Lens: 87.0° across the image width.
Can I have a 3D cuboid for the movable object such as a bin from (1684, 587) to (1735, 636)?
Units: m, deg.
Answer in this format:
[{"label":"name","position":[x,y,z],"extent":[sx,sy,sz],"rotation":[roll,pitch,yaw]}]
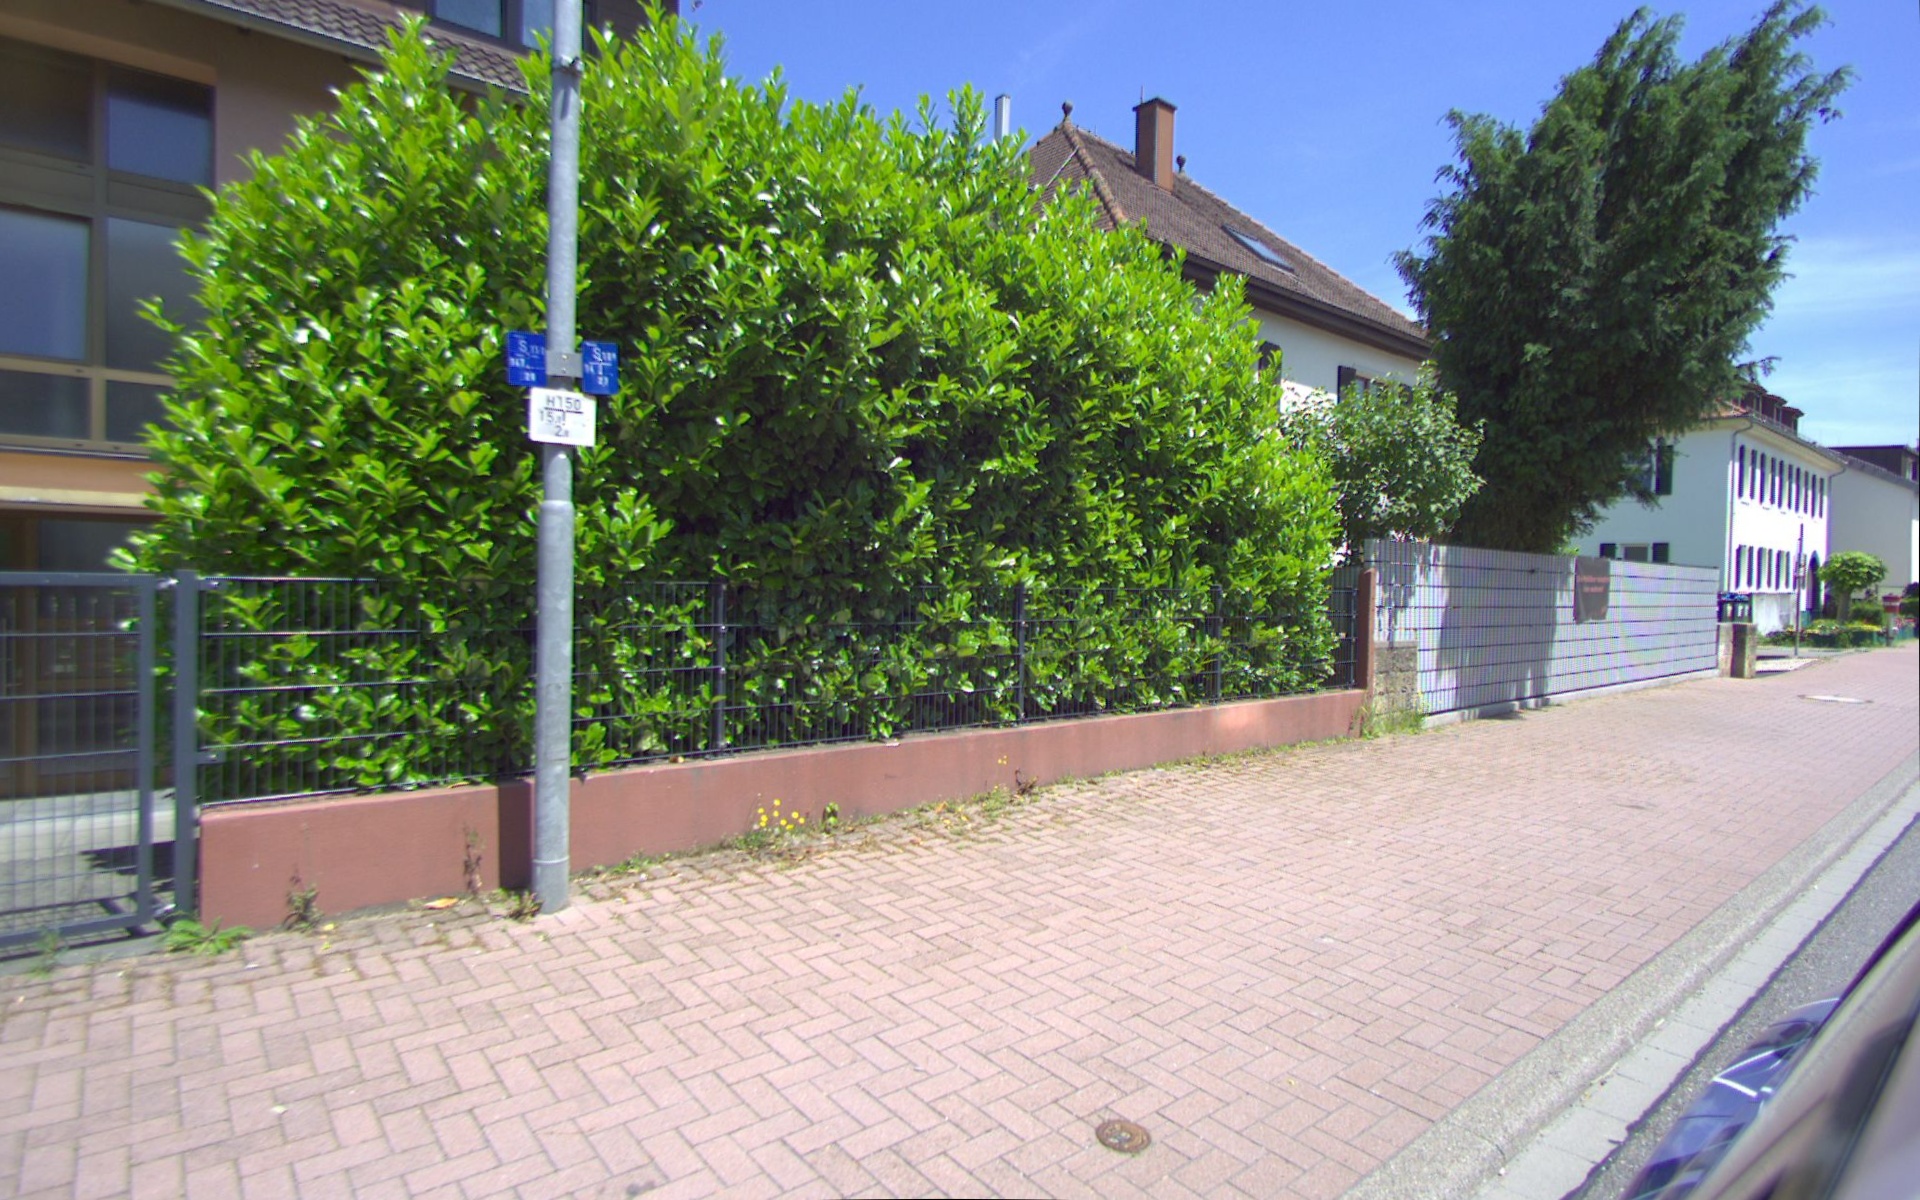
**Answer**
[{"label":"movable object such as a bin","position":[22.786,0.344,30.772],"extent":[0.885,1.449,1.052],"rotation":[0,-1,-39]}]
